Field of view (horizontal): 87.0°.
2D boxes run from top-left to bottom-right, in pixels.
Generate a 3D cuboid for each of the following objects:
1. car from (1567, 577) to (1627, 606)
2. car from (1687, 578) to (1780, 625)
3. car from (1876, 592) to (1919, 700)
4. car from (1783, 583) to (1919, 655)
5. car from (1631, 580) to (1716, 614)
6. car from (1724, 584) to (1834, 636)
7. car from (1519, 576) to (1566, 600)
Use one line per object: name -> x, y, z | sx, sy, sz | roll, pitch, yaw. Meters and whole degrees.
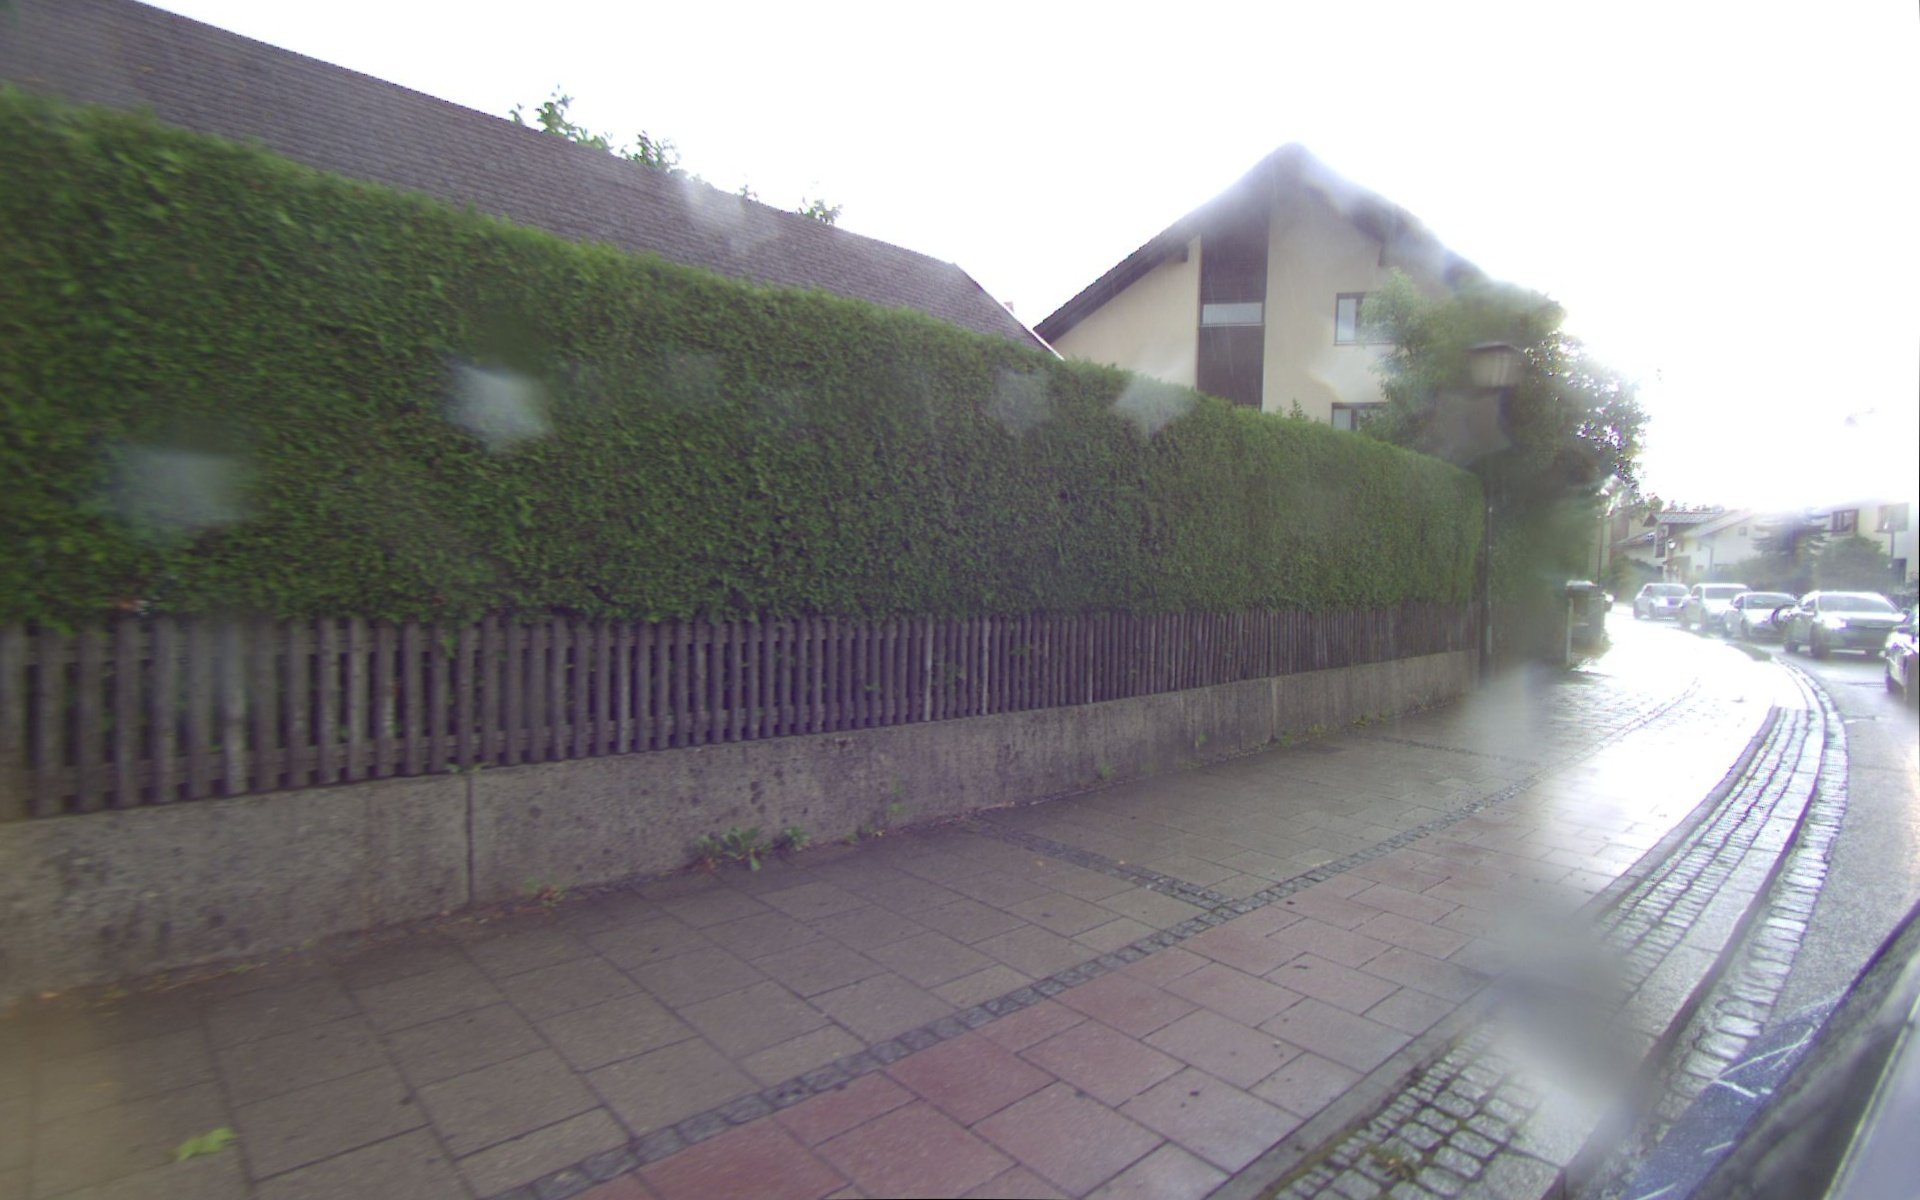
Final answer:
car -> 35.487, -0.496, 56.498 | 1.771, 1.568, 4.258 | 0, 1, 17
car -> 27.083, 0.010, 35.569 | 1.777, 1.568, 4.243 | 0, 1, 26
car -> 14.347, 0.612, 14.133 | 1.783, 1.412, 4.227 | 0, 1, 35
car -> 21.086, 0.369, 23.959 | 1.781, 1.497, 5.325 | 0, 1, 32
car -> 30.977, -0.167, 44.057 | 1.771, 1.390, 4.258 | 0, 1, 17
car -> 24.308, 0.250, 30.179 | 1.779, 1.412, 4.239 | 0, 1, 28
car -> 38.757, -0.827, 67.459 | 1.770, 1.568, 4.259 | 0, 1, 17
